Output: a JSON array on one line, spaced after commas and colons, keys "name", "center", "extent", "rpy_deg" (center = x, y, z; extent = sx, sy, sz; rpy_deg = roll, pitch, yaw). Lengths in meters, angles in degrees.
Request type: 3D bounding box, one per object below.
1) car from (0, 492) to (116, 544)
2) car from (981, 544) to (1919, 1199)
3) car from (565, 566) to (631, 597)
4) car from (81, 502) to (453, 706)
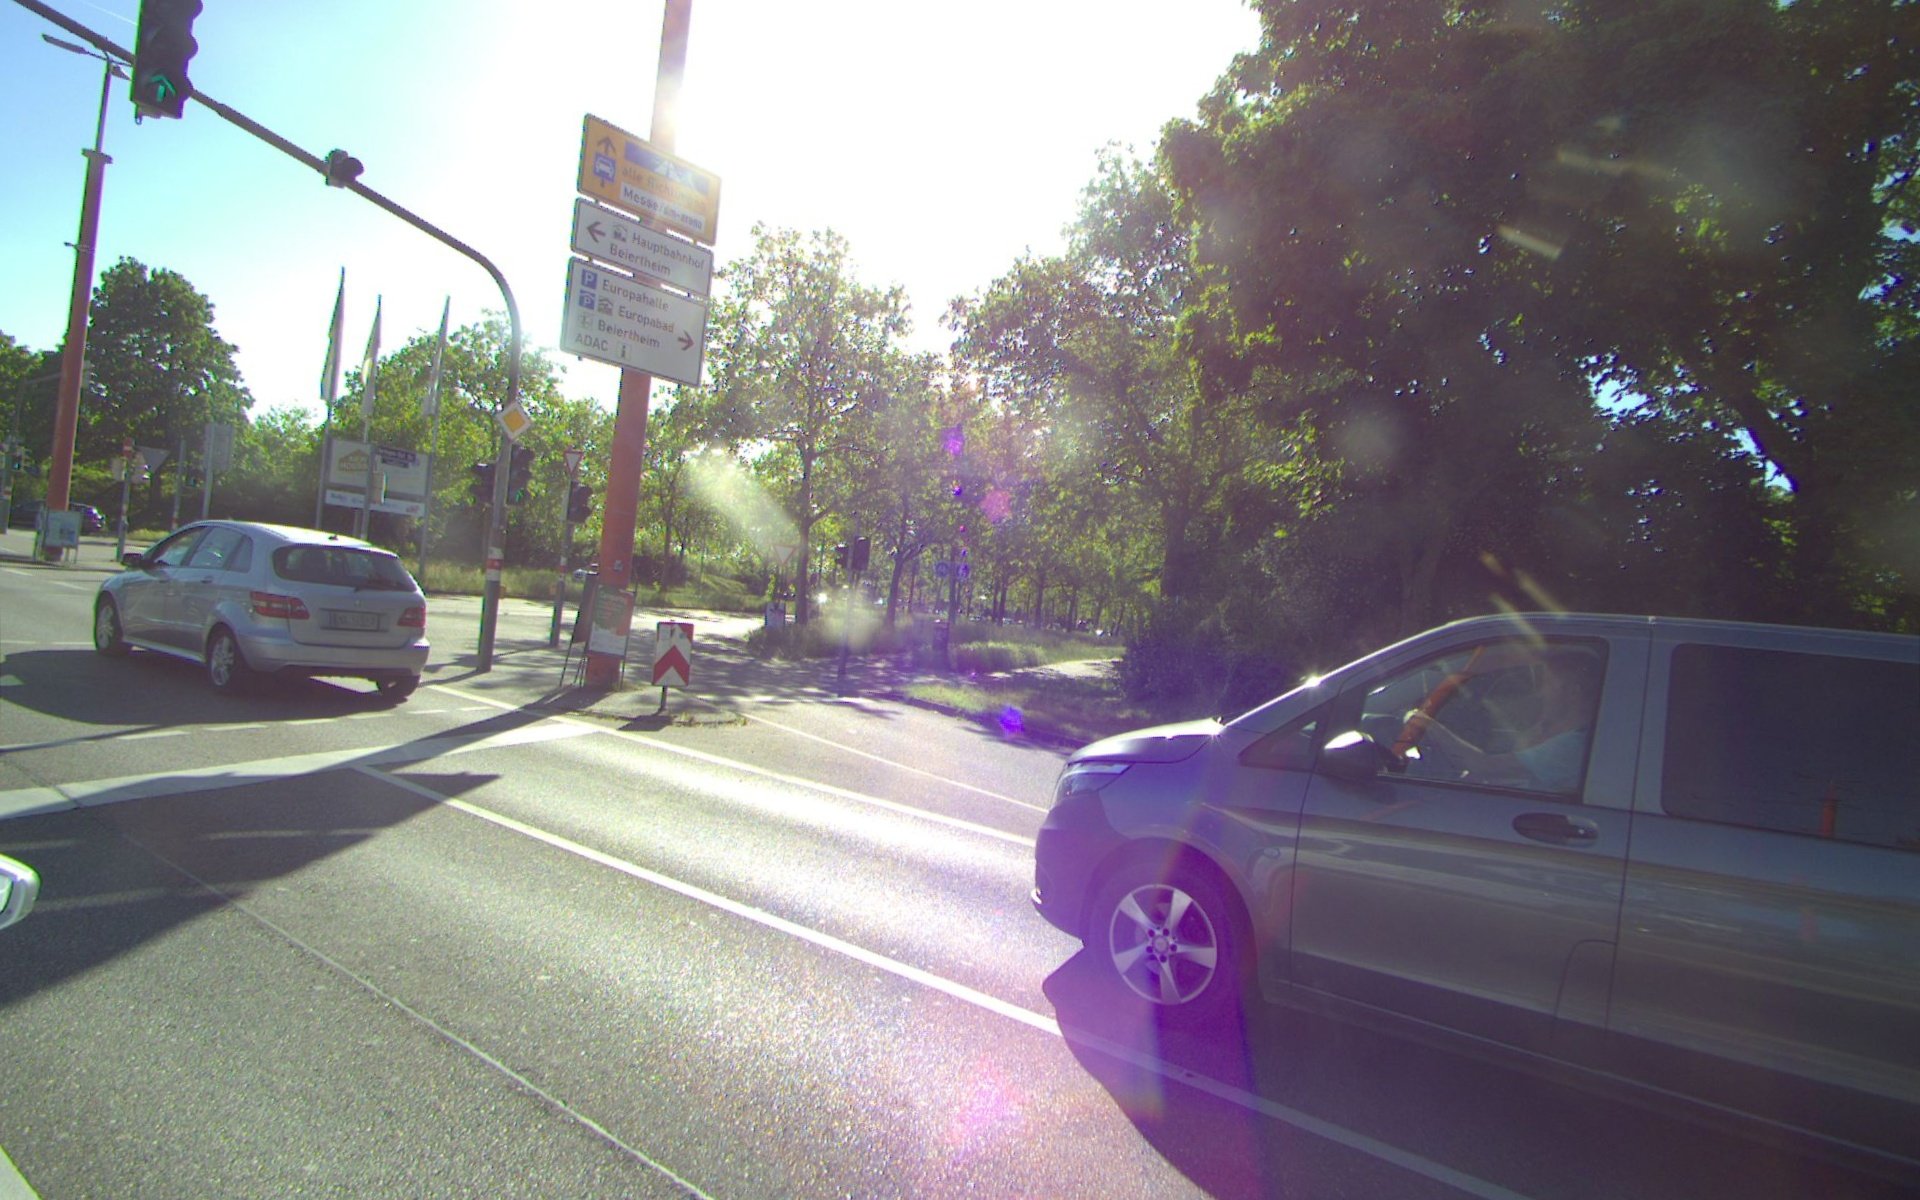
[{"name": "car", "center": [-40.984, -3.720, 45.233], "extent": [4.251, 1.654, 1.757], "rpy_deg": [9, -2, -29]}, {"name": "car", "center": [2.761, 0.993, 3.901], "extent": [5.021, 1.875, 1.806], "rpy_deg": [7, 0, 34]}, {"name": "car", "center": [-25.043, -1.251, 69.764], "extent": [1.737, 1.655, 4.297], "rpy_deg": [7, -1, 23]}, {"name": "car", "center": [-7.308, 0.013, 10.532], "extent": [3.784, 1.626, 1.719], "rpy_deg": [6, -2, 32]}]
